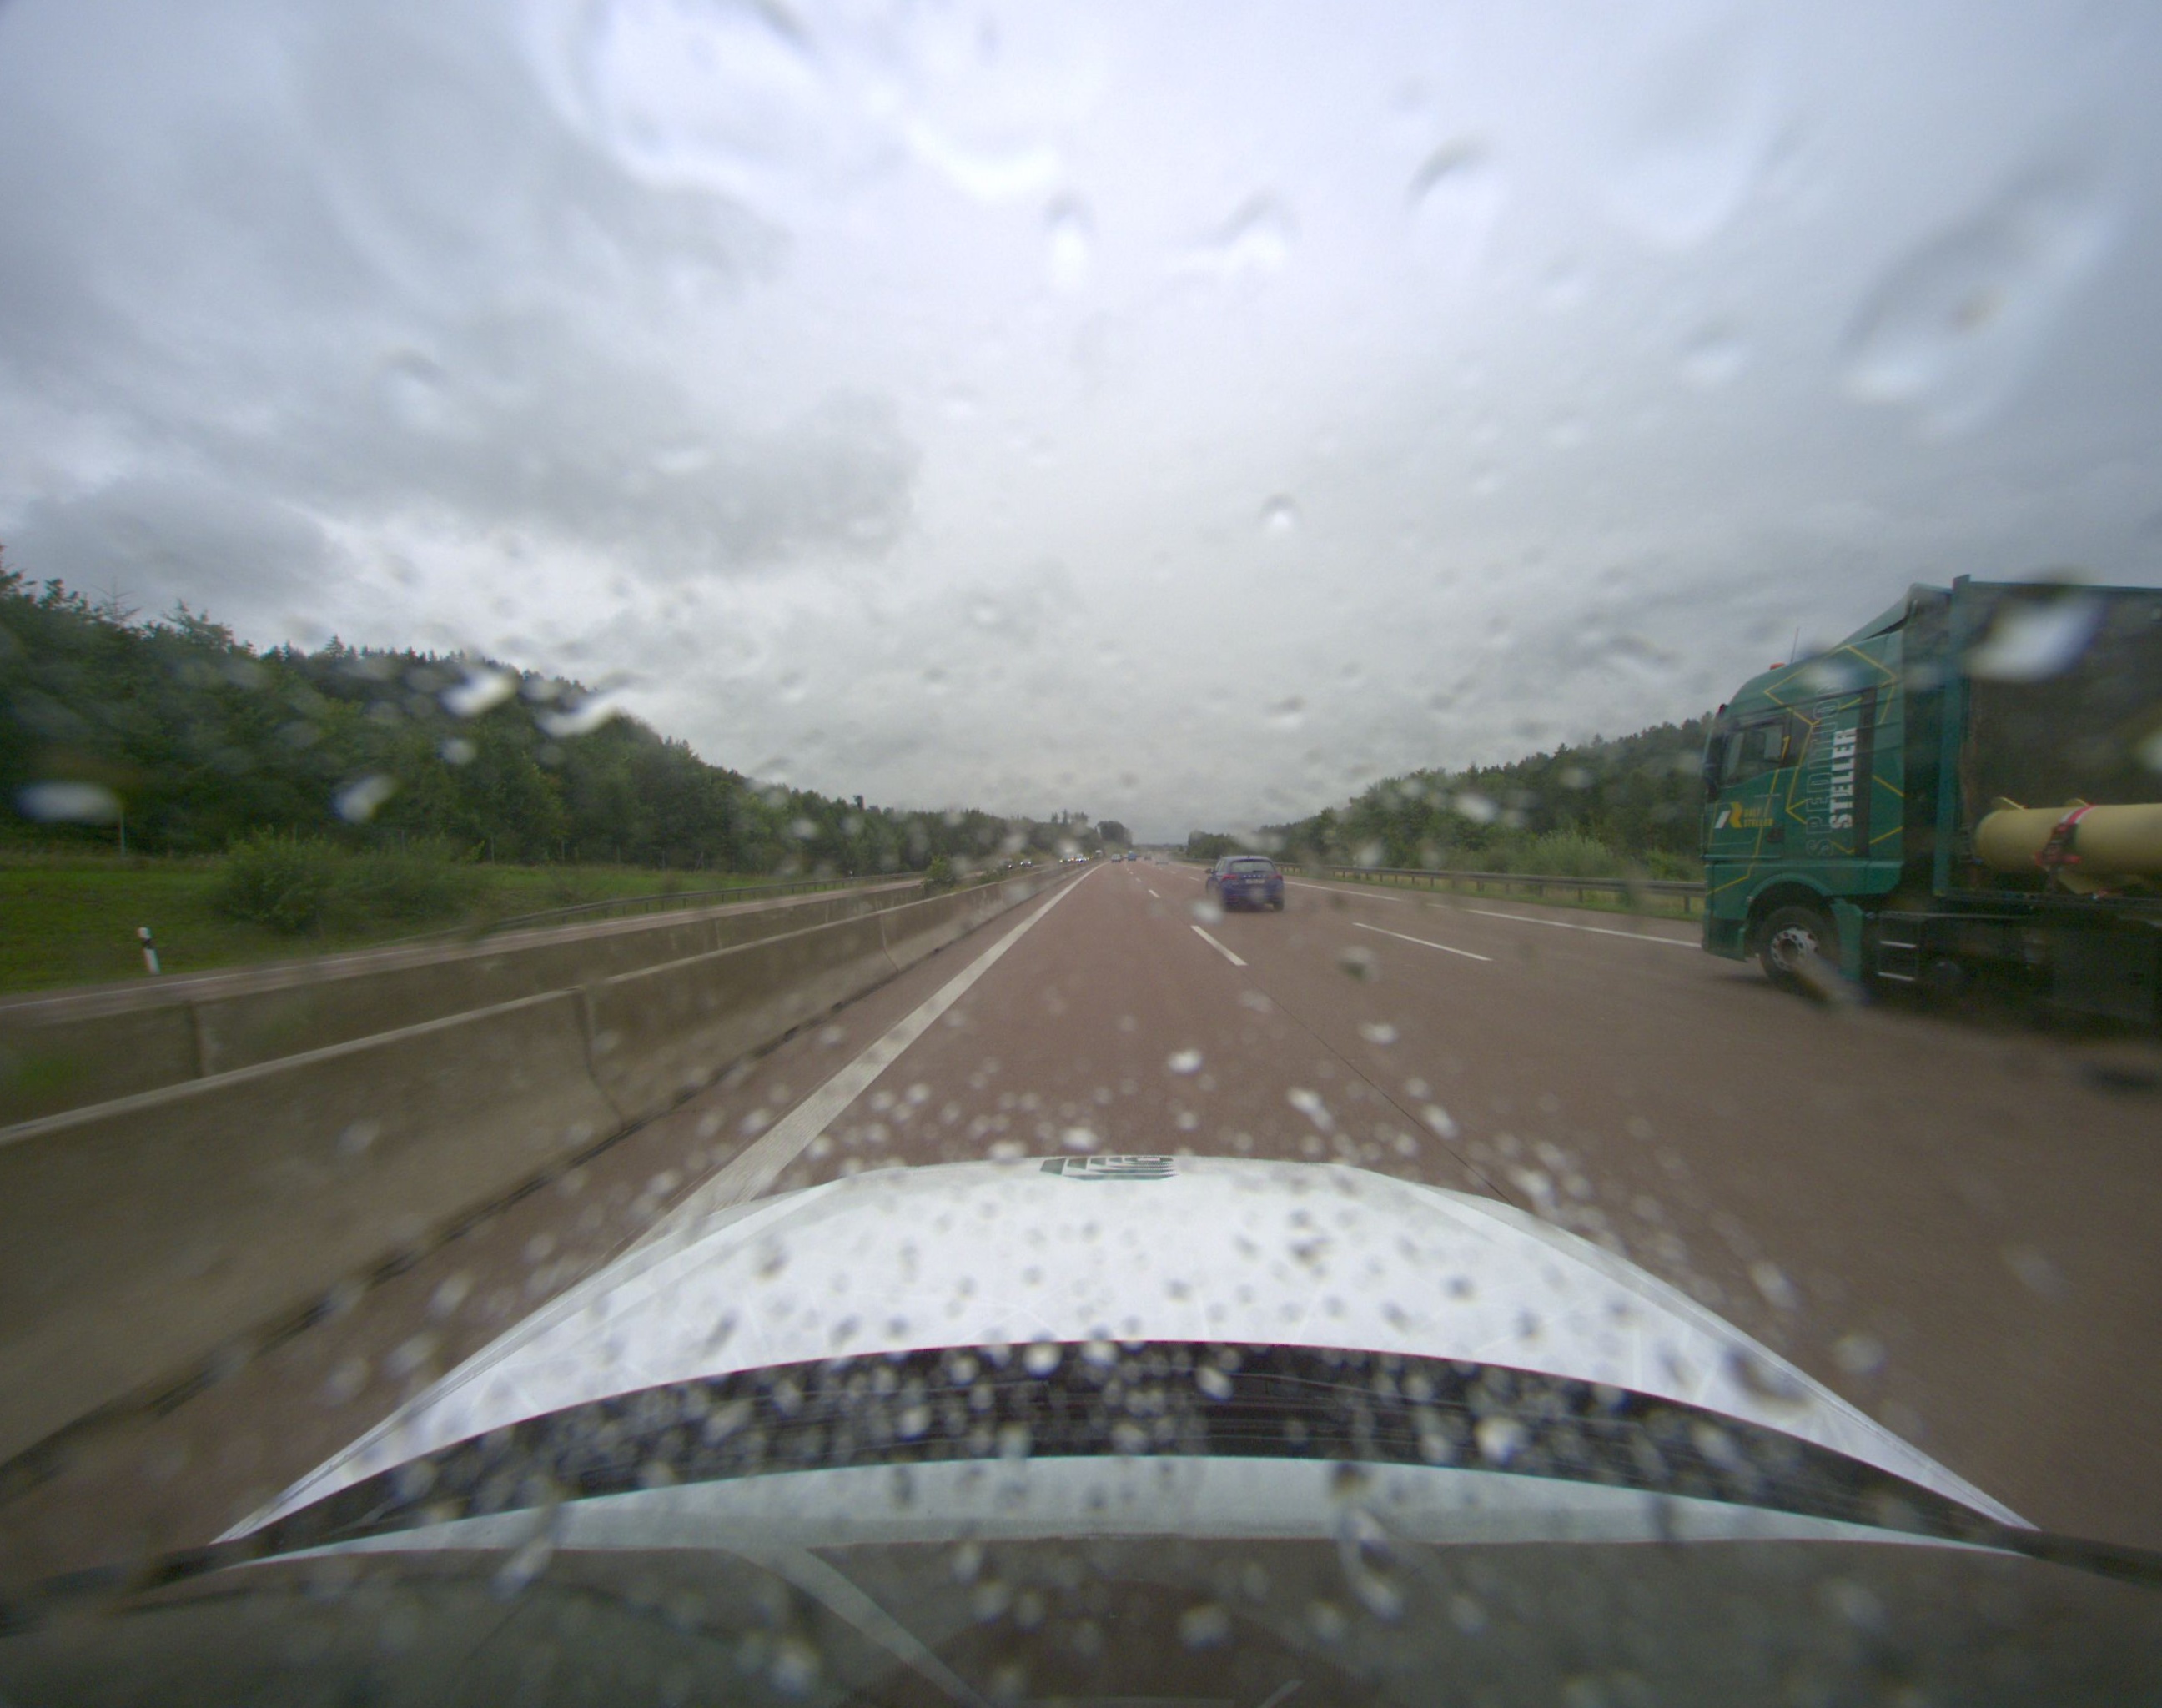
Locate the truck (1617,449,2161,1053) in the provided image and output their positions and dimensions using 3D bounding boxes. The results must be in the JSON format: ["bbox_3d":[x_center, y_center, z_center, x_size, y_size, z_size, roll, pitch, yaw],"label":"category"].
[{"bbox_3d":[8.580,-0.634,7.372,2.887,3.965,6.988,0,-1,1],"label":"truck"}]

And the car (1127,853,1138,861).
[{"bbox_3d":[12.256,0.699,193.634,2.314,1.750,4.877,0,-1,1],"label":"car"}]

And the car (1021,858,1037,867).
[{"bbox_3d":[-9.541,1.575,149.594,1.984,1.560,5.751,0,-1,5],"label":"car"}]

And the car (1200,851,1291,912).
[{"bbox_3d":[4.486,0.745,22.807,1.765,1.564,4.147,0,-1,1],"label":"car"}]

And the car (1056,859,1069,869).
[{"bbox_3d":[-3.125,1.671,140.155,1.857,1.551,4.810,0,0,2],"label":"car"}]

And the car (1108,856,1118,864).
[{"bbox_3d":[6.414,1.156,163.122,1.867,1.444,4.878,0,-1,2],"label":"car"}]

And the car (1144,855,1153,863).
[{"bbox_3d":[17.322,1.212,209.417,1.987,2.014,4.000,0,-1,1],"label":"car"}]

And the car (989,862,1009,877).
[{"bbox_3d":[-9.467,1.793,93.981,1.709,1.582,4.317,-2,-1,2],"label":"car"}]

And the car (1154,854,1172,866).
[{"bbox_3d":[12.346,0.917,122.917,2.314,1.750,4.877,0,-1,1],"label":"car"}]
